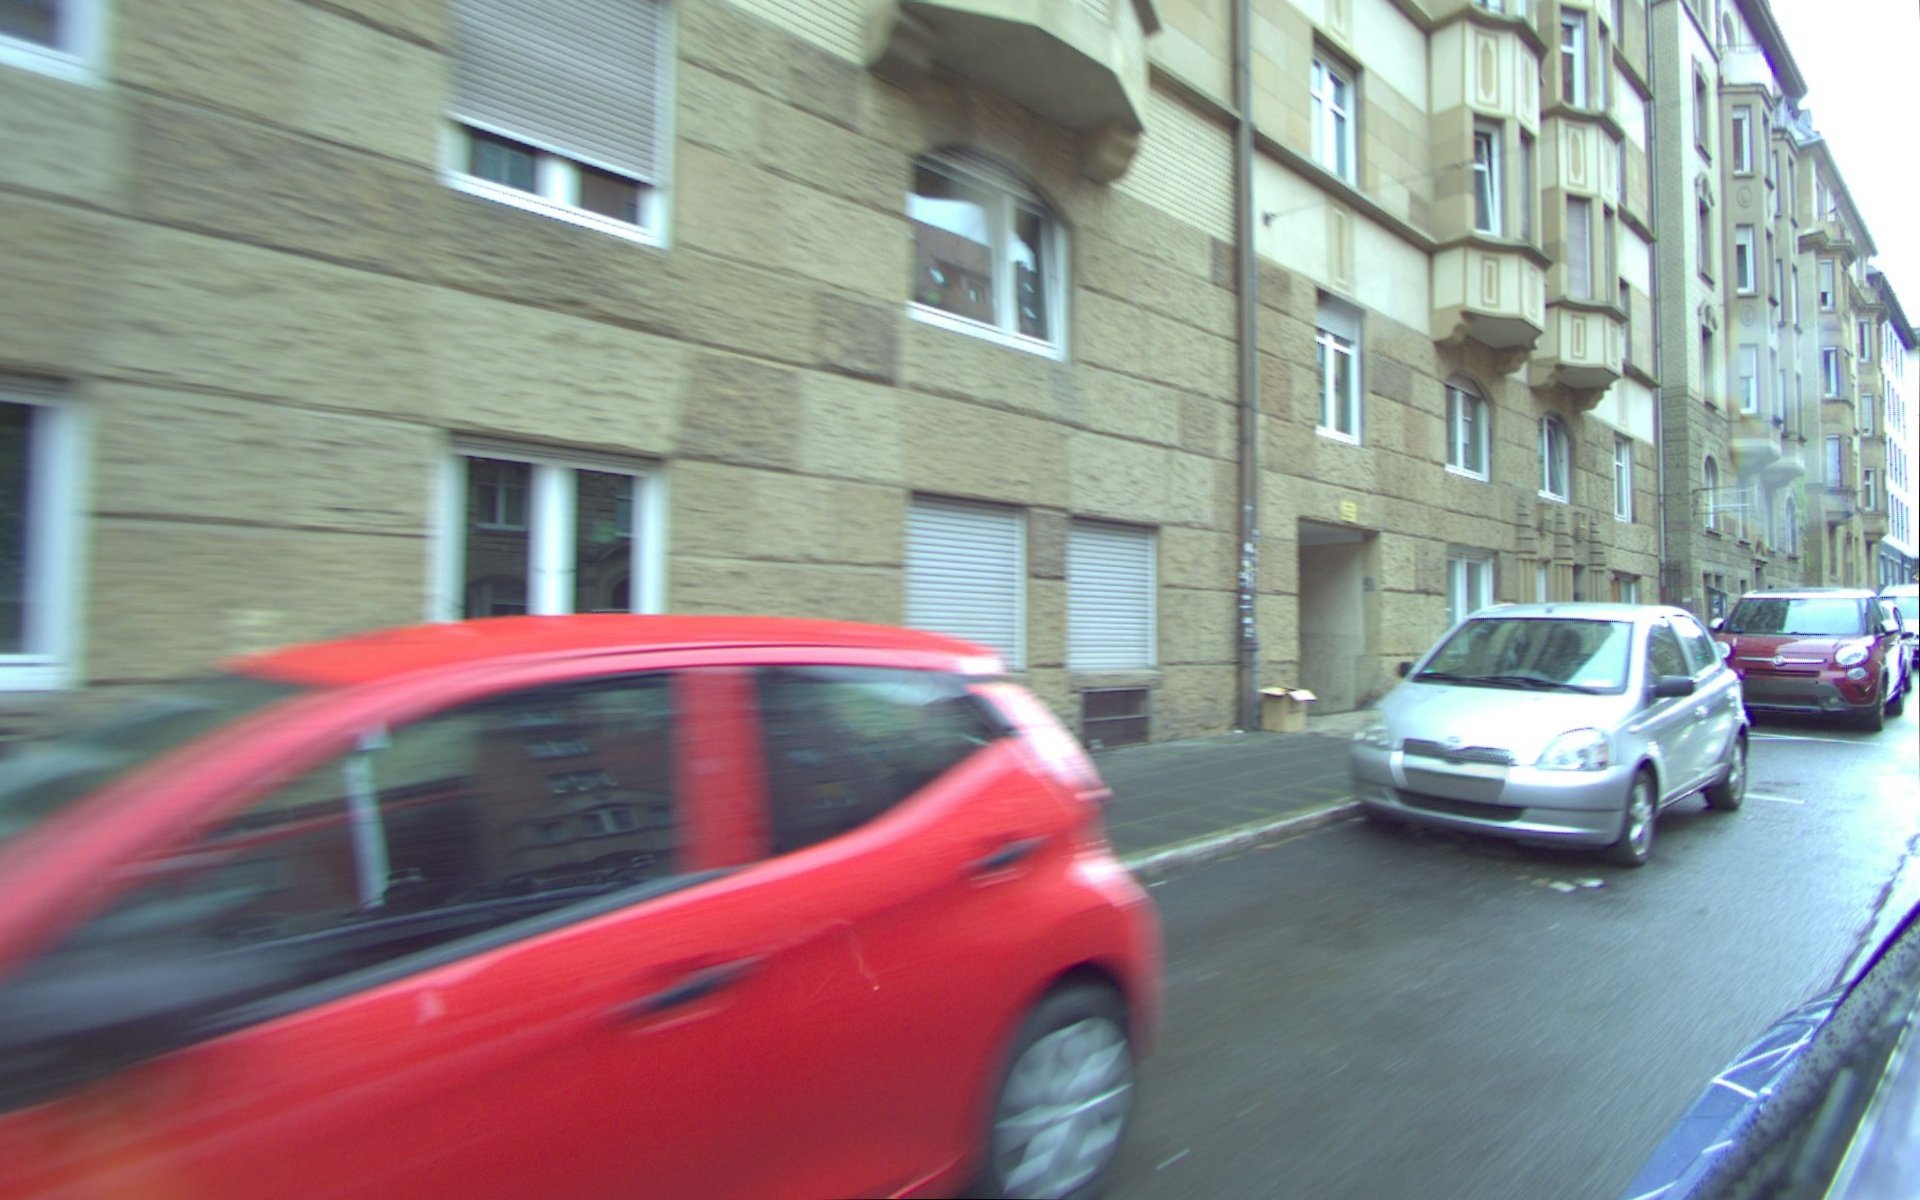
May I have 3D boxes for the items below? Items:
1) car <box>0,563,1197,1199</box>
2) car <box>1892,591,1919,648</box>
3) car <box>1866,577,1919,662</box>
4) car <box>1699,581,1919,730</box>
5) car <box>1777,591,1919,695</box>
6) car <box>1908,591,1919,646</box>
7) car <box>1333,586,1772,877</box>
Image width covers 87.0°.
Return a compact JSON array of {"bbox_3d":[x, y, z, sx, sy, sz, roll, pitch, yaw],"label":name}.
[{"bbox_3d":[-1.215,0.712,2.142,3.474,1.472,1.706,0,-1,-44],"label":"car"},{"bbox_3d":[25.659,0.464,26.122,3.913,1.406,1.929,-1,-1,-41],"label":"car"},{"bbox_3d":[21.921,0.396,22.773,3.893,1.791,1.809,-1,0,-41],"label":"car"},{"bbox_3d":[11.048,0.581,13.033,3.932,1.622,1.771,-1,1,-43],"label":"car"},{"bbox_3d":[14.940,0.645,16.787,3.471,1.530,1.630,0,-1,-43],"label":"car"},{"bbox_3d":[29.050,0.476,29.284,3.988,1.544,1.933,-1,-1,-41],"label":"car"},{"bbox_3d":[4.203,0.668,6.983,3.460,1.505,1.597,0,0,-41],"label":"car"}]
